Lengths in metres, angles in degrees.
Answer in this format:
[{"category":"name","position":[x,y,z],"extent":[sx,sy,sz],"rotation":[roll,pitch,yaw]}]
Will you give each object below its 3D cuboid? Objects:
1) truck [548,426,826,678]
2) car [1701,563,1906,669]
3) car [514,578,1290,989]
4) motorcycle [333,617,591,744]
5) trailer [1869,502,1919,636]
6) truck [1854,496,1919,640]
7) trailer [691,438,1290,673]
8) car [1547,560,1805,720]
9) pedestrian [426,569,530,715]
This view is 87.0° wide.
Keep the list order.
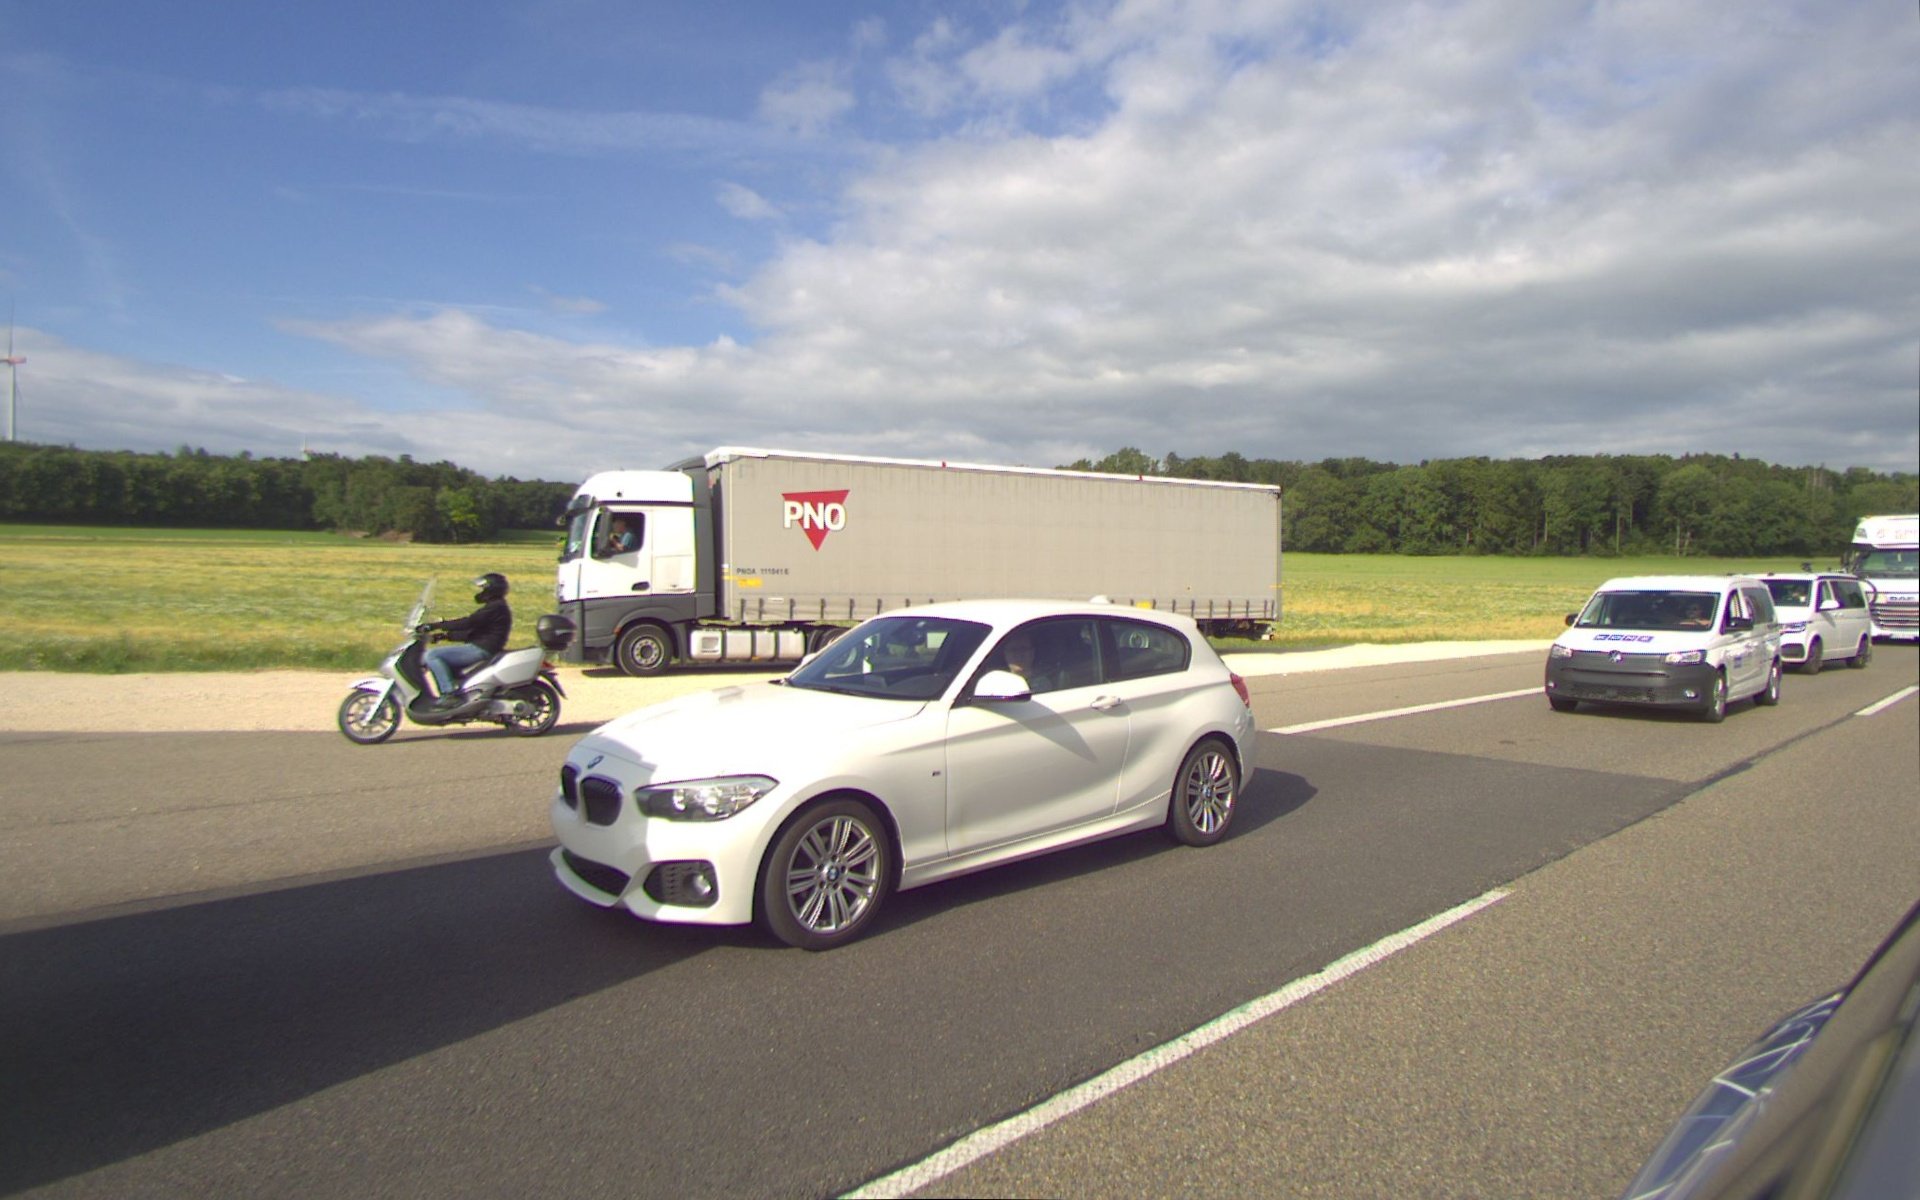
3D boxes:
[{"category":"truck","position":[-5.202,-0.809,19.222],"extent":[4.662,4.227,2.726],"rotation":[0,0,-26]},{"category":"car","position":[17.371,0.289,20.759],"extent":[5.165,1.949,1.801],"rotation":[0,0,-33]},{"category":"car","position":[-0.041,0.642,5.614],"extent":[4.159,1.450,1.706],"rotation":[0,0,-42]},{"category":"motorcycle","position":[-4.885,0.764,10.093],"extent":[2.197,1.164,0.760],"rotation":[0,0,-14]},{"category":"trailer","position":[35.333,-1.087,36.130],"extent":[13.777,4.212,2.739],"rotation":[-1,1,-41]},{"category":"truck","position":[30.111,-0.977,31.473],"extent":[5.667,4.226,2.733],"rotation":[-1,1,-41]},{"category":"trailer","position":[1.199,-0.802,22.368],"extent":[13.543,4.213,2.748],"rotation":[0,0,-26]},{"category":"car","position":[9.585,0.437,13.399],"extent":[4.620,1.779,1.727],"rotation":[0,0,-41]},{"category":"pedestrian","position":[-4.794,0.397,10.116],"extent":[0.802,1.391,0.760],"rotation":[0,0,-14]}]
